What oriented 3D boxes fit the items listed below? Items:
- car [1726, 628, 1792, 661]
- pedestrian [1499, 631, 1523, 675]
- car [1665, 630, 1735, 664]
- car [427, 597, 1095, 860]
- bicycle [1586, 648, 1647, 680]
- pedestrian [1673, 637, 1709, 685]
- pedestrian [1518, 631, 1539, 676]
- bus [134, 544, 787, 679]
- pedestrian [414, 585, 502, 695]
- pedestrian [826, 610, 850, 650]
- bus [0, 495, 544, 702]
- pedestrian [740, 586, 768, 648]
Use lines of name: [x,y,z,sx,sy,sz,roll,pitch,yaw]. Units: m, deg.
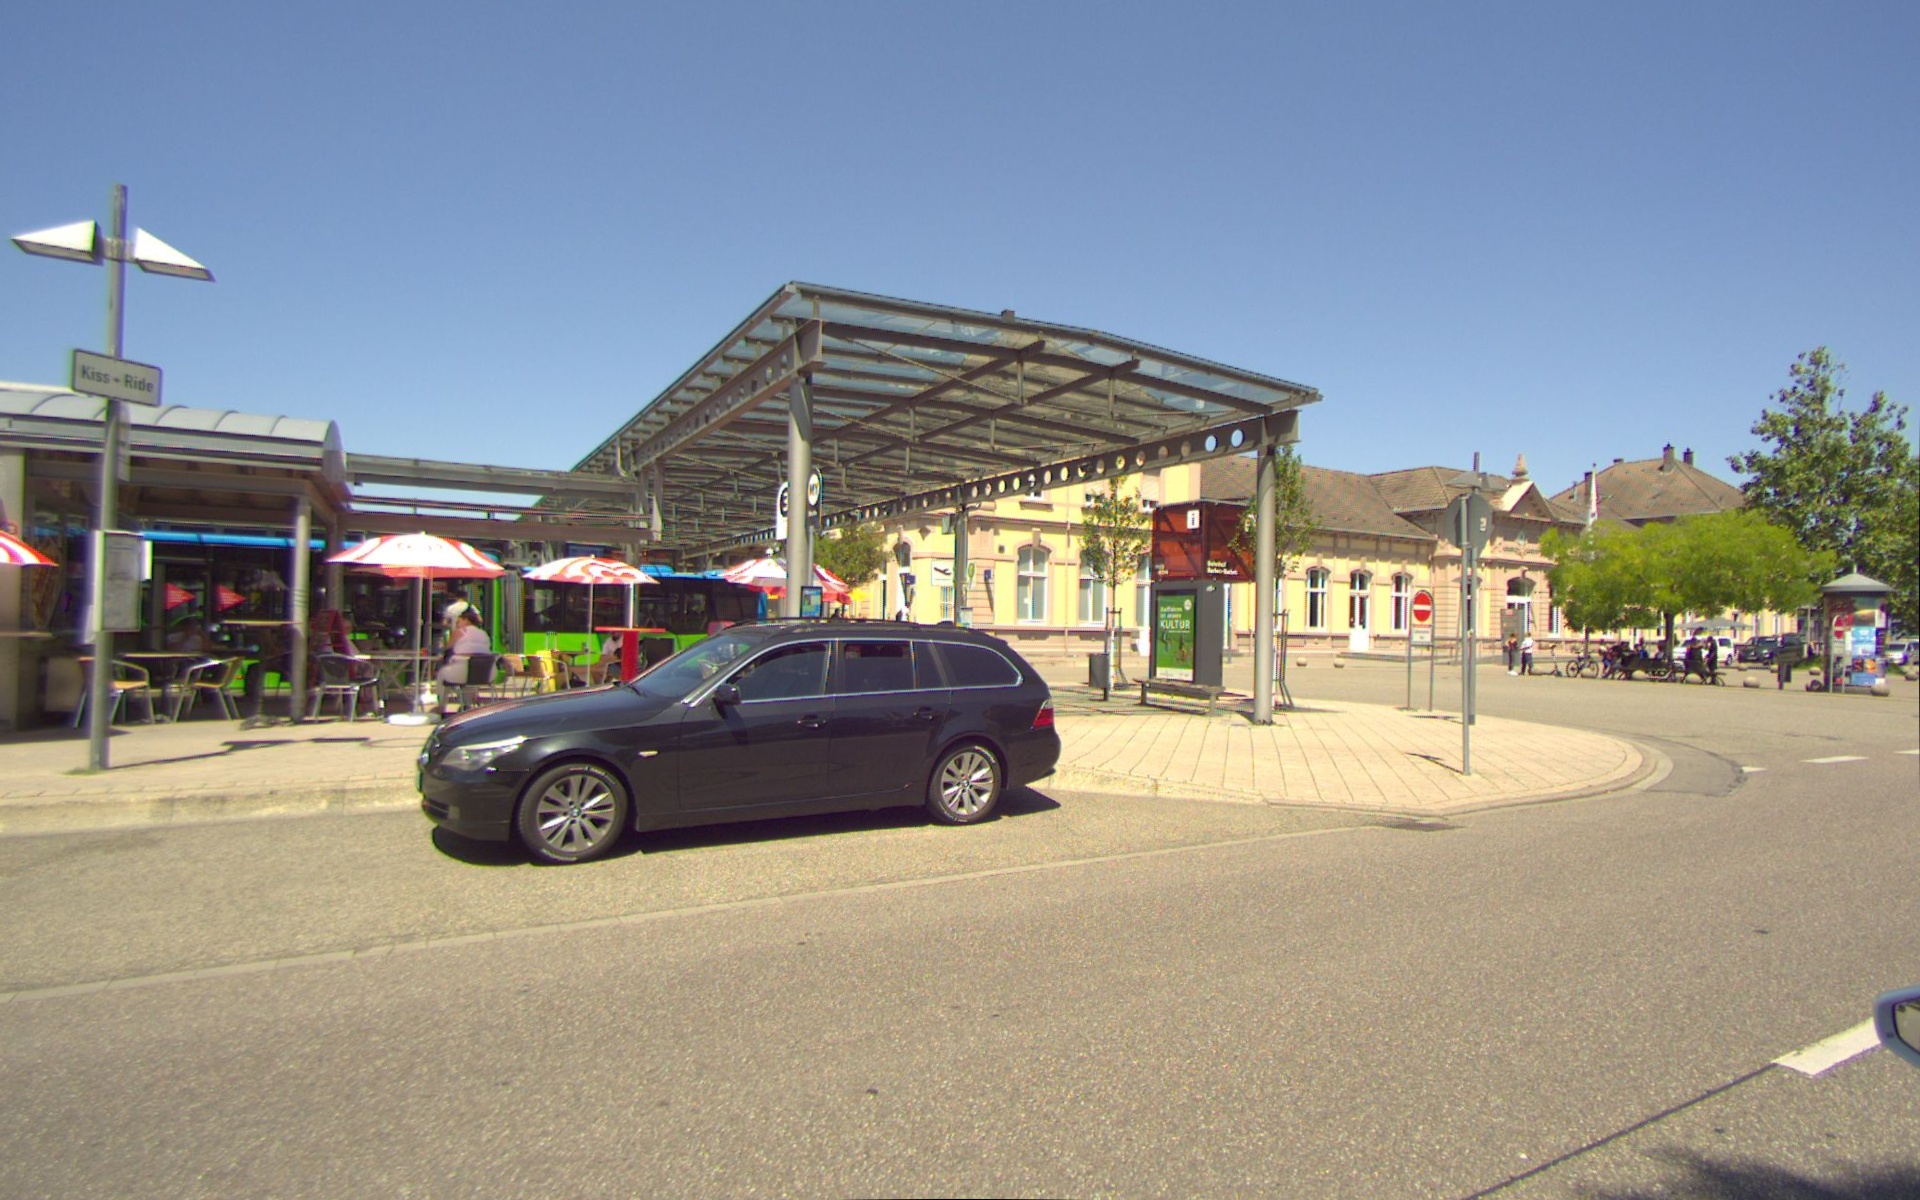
car: [50.837,2.837,63.903,3.953,2.040,1.984,2,-2,-30]
pedestrian: [21.744,2.103,39.643,0.644,1.695,0.632,2,-2,15]
car: [44.781,2.834,60.763,4.719,1.943,1.743,2,-1,-30]
car: [-1.357,0.828,7.699,4.731,1.498,1.710,2,-2,-31]
bicycle: [23.390,2.268,35.804,1.770,1.044,0.487,1,-1,38]
pedestrian: [26.333,2.174,36.174,0.708,1.681,0.761,3,-2,-12]
pedestrian: [22.375,2.106,39.535,0.574,1.732,0.588,2,-2,15]
bus: [-12.594,0.472,27.659,15.316,3.077,2.857,2,-1,-27]
pedestrian: [-8.838,0.710,17.743,1.123,1.851,0.800,3,-2,-13]
pedestrian: [-5.227,1.281,43.007,0.771,1.708,0.659,0,0,-37]
bus: [-13.999,0.051,18.198,11.700,3.276,2.953,2,-1,-28]
pedestrian: [-3.334,0.278,16.264,0.366,0.985,0.424,3,-2,-16]
